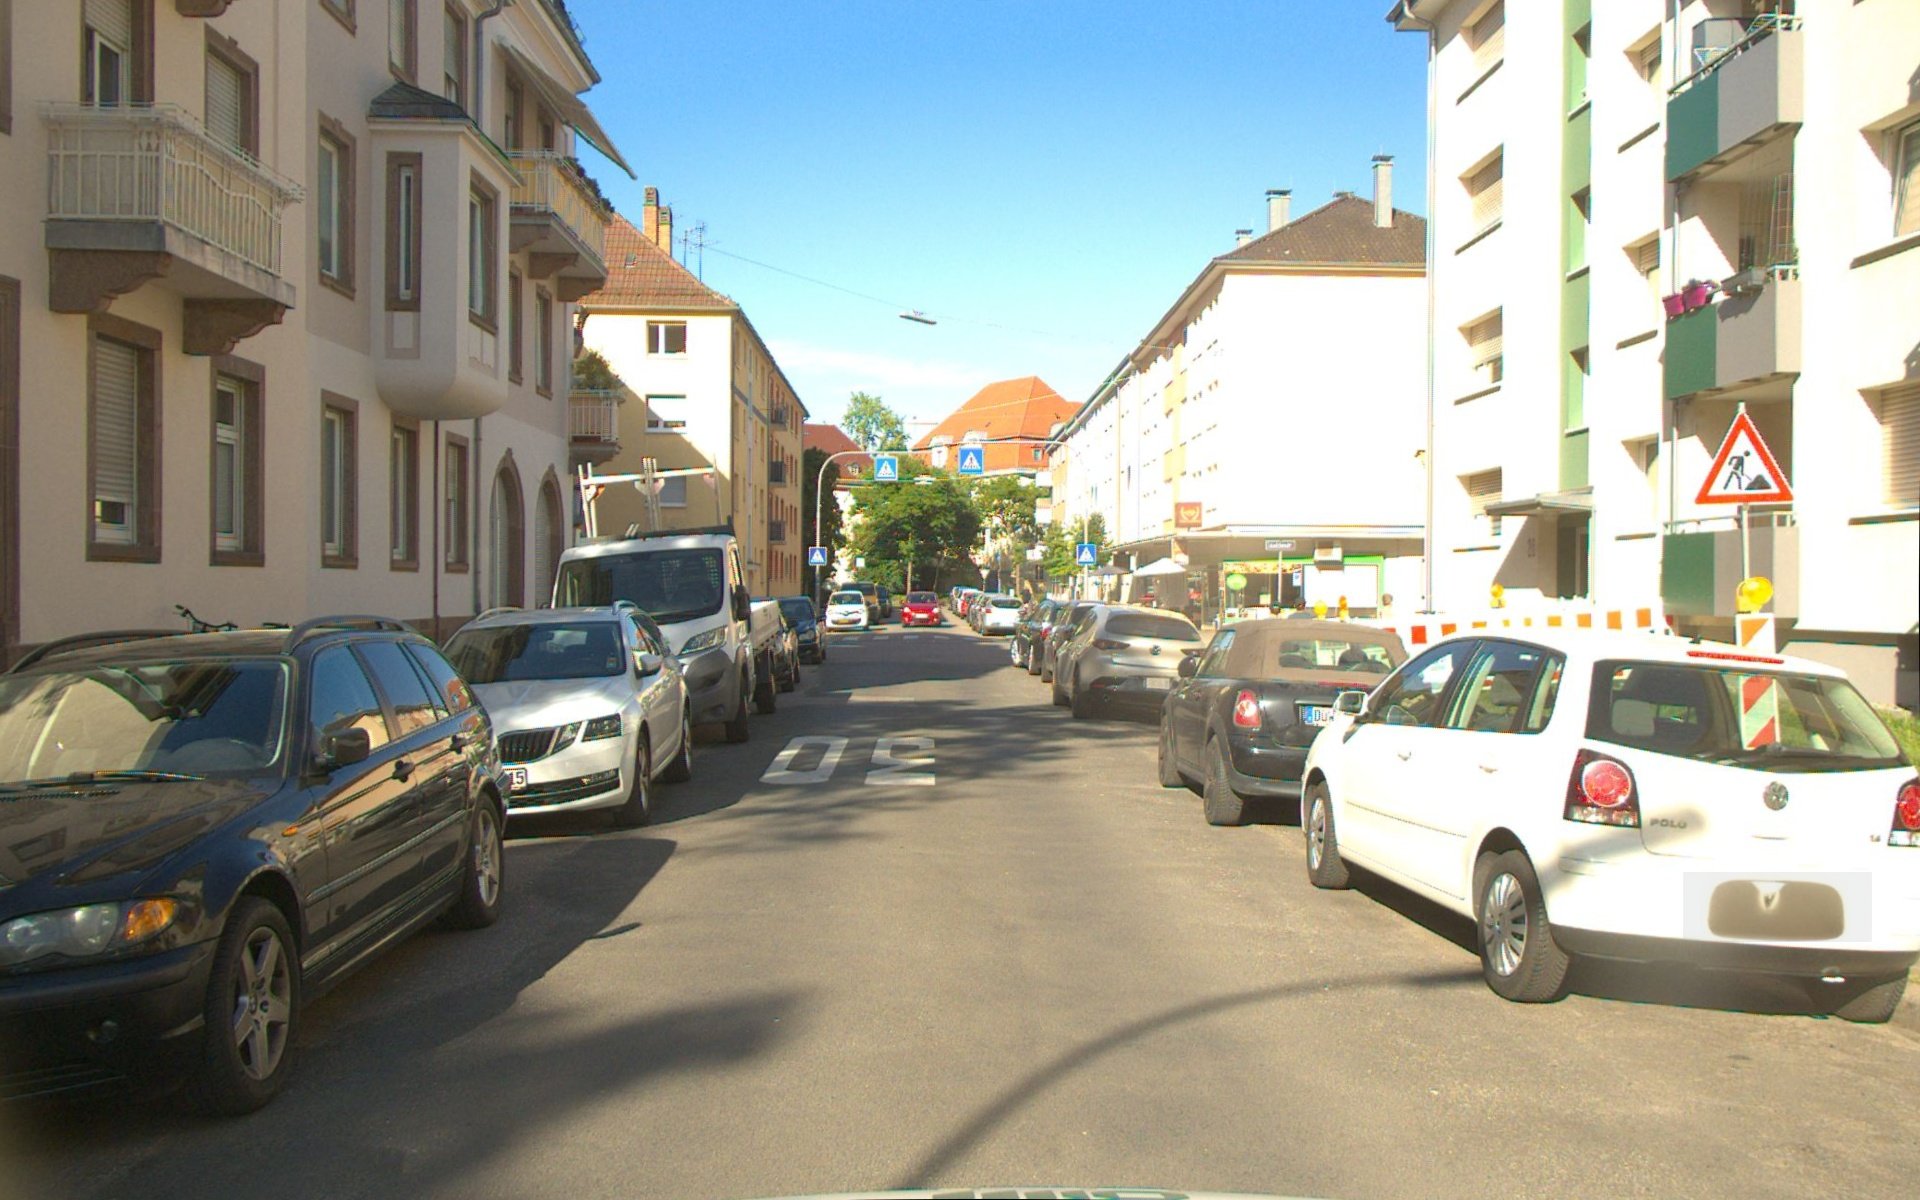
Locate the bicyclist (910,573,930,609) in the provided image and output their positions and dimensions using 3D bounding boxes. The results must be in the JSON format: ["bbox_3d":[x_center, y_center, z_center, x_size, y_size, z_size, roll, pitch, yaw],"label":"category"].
[{"bbox_3d":[-1.909,-0.411,78.867,0.769,1.649,0.956,-3,1,3],"label":"bicyclist"}]

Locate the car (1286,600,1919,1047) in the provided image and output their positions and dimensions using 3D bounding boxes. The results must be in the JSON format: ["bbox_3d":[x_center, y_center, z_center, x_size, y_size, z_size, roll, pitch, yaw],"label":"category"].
[{"bbox_3d":[2.911,0.820,7.847,1.653,1.488,3.816,3,0,-4],"label":"car"}]

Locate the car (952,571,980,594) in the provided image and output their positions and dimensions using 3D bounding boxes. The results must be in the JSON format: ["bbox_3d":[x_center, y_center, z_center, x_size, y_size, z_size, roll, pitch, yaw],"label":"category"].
[{"bbox_3d":[0.383,-1.148,107.701,1.605,1.465,3.418,-2,1,-2],"label":"car"}]

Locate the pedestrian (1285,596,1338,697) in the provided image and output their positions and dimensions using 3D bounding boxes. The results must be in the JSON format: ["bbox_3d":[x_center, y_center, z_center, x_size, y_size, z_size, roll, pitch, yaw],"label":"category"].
[{"bbox_3d":[5.240,0.685,24.650,0.566,1.458,0.470,-2,2,38],"label":"pedestrian"}]

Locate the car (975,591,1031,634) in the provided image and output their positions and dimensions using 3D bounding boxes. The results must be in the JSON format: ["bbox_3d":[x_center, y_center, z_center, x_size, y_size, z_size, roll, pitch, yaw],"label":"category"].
[{"bbox_3d":[1.550,0.437,60.999,1.808,1.465,3.418,-2,1,-2],"label":"car"}]

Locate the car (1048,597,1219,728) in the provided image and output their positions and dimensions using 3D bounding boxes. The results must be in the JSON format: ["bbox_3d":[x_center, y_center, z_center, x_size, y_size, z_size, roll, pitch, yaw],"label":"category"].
[{"bbox_3d":[2.224,0.756,22.290,1.755,1.496,4.338,2,1,-1],"label":"car"}]

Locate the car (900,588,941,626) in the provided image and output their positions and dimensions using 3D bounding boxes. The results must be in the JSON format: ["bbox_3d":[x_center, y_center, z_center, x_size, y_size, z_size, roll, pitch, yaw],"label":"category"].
[{"bbox_3d":[-1.695,0.285,69.891,1.663,1.465,3.418,-2,1,-2],"label":"car"}]

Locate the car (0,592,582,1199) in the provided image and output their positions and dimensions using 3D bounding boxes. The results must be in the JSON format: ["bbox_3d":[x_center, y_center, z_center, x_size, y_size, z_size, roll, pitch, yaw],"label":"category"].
[{"bbox_3d":[-2.858,0.875,6.202,1.756,1.589,4.459,-6,1,-1],"label":"car"}]

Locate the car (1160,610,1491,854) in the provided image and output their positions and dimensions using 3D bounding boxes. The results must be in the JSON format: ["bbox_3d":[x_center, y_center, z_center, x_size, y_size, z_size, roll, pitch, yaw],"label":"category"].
[{"bbox_3d":[2.619,0.880,12.656,1.654,1.492,3.582,2,1,-1],"label":"car"}]

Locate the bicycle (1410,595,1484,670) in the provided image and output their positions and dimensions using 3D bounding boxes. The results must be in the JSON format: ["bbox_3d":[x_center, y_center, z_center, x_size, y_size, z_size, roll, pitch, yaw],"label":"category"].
[{"bbox_3d":[8.332,0.534,28.362,0.549,1.138,1.898,-7,2,-1],"label":"bicycle"}]

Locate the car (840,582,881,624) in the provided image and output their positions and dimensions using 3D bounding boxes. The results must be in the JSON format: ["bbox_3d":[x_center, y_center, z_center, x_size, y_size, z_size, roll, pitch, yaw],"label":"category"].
[{"bbox_3d":[-4.539,0.116,76.063,1.663,1.809,4.098,-2,1,-1],"label":"car"}]

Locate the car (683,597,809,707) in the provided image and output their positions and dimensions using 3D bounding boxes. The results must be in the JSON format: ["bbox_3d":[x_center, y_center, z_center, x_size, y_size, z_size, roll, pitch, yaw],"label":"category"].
[{"bbox_3d":[-3.381,0.767,26.691,1.613,1.440,4.078,-6,1,-4],"label":"car"}]

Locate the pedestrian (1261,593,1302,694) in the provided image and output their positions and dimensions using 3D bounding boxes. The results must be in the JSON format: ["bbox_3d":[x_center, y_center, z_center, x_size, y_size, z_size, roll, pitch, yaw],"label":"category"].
[{"bbox_3d":[4.787,0.642,24.611,0.495,1.458,0.452,-3,2,16],"label":"pedestrian"}]

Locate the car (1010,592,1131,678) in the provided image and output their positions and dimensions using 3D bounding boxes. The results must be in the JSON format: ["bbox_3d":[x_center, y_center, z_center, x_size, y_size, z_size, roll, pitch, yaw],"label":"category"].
[{"bbox_3d":[2.110,0.629,32.829,1.817,1.550,4.774,-1,0,-3],"label":"car"}]

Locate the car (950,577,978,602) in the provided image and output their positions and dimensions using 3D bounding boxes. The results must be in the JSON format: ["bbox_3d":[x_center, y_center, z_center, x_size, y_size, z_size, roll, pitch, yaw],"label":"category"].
[{"bbox_3d":[0.241,-0.685,103.310,1.605,1.465,3.418,-2,1,-2],"label":"car"}]

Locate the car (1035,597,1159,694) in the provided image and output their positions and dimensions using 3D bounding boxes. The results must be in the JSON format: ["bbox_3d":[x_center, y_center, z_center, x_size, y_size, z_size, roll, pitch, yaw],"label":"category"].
[{"bbox_3d":[2.250,0.711,28.042,1.612,1.485,3.938,-1,0,-2],"label":"car"}]

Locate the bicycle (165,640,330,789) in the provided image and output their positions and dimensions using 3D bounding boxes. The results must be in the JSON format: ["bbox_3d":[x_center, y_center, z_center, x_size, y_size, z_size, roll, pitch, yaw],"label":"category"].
[{"bbox_3d":[-6.985,1.079,16.344,0.616,1.224,2.340,-2,2,-1],"label":"bicycle"}]

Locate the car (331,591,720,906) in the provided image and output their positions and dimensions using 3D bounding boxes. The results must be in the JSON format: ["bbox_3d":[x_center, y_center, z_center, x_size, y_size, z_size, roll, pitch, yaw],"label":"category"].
[{"bbox_3d":[-2.966,0.887,12.360,1.758,1.566,4.639,-7,2,-3],"label":"car"}]

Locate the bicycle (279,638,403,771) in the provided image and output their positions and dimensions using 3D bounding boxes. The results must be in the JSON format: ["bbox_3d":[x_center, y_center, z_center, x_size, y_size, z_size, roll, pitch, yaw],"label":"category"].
[{"bbox_3d":[-7.166,1.170,19.268,0.558,1.301,2.340,-2,2,-1],"label":"bicycle"}]

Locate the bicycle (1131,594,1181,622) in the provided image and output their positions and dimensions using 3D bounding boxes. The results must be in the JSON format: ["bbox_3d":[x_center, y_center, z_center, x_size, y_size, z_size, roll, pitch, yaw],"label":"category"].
[{"bbox_3d":[7.575,0.313,64.039,1.775,0.984,0.672,-2,1,-12],"label":"bicycle"}]

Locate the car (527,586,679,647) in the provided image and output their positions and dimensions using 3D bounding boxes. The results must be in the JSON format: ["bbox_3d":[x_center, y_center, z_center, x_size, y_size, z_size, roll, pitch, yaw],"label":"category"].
[{"bbox_3d":[-9.833,0.430,45.575,3.920,1.505,1.586,-2,1,-19],"label":"car"}]

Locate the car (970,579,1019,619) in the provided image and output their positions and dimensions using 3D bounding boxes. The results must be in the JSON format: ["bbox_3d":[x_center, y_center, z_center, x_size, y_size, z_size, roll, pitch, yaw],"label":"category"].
[{"bbox_3d":[1.345,-0.071,65.813,1.657,1.465,3.417,-2,1,-3],"label":"car"}]

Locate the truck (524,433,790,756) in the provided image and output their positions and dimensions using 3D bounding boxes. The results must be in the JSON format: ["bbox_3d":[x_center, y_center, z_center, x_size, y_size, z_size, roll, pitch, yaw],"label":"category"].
[{"bbox_3d":[-3.286,-0.097,19.593,2.215,3.038,7.270,-2,1,-4],"label":"truck"}]

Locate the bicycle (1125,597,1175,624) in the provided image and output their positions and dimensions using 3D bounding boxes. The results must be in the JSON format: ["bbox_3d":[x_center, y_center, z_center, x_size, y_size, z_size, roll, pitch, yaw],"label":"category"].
[{"bbox_3d":[7.430,0.409,64.700,1.775,0.984,0.672,-2,1,-12],"label":"bicycle"}]

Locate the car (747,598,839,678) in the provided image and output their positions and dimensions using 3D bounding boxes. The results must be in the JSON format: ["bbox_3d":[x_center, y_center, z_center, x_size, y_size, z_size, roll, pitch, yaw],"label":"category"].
[{"bbox_3d":[-3.551,0.766,35.820,1.671,1.440,4.371,-6,1,-4],"label":"car"}]

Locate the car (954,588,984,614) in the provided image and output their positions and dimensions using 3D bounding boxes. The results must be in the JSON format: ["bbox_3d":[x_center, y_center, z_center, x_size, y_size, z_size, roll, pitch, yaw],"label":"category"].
[{"bbox_3d":[0.537,0.044,98.294,1.605,1.466,3.417,-1,0,-2],"label":"car"}]

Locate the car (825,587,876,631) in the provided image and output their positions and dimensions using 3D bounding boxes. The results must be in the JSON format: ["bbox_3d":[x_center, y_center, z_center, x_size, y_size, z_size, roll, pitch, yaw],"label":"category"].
[{"bbox_3d":[-4.286,0.325,65.138,1.755,1.506,4.098,-3,2,-1],"label":"car"}]

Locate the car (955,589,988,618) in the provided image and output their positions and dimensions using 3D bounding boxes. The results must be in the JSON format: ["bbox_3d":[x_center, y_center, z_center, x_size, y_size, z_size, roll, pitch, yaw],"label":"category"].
[{"bbox_3d":[0.622,0.174,92.147,1.605,1.465,3.418,-2,1,-2],"label":"car"}]
